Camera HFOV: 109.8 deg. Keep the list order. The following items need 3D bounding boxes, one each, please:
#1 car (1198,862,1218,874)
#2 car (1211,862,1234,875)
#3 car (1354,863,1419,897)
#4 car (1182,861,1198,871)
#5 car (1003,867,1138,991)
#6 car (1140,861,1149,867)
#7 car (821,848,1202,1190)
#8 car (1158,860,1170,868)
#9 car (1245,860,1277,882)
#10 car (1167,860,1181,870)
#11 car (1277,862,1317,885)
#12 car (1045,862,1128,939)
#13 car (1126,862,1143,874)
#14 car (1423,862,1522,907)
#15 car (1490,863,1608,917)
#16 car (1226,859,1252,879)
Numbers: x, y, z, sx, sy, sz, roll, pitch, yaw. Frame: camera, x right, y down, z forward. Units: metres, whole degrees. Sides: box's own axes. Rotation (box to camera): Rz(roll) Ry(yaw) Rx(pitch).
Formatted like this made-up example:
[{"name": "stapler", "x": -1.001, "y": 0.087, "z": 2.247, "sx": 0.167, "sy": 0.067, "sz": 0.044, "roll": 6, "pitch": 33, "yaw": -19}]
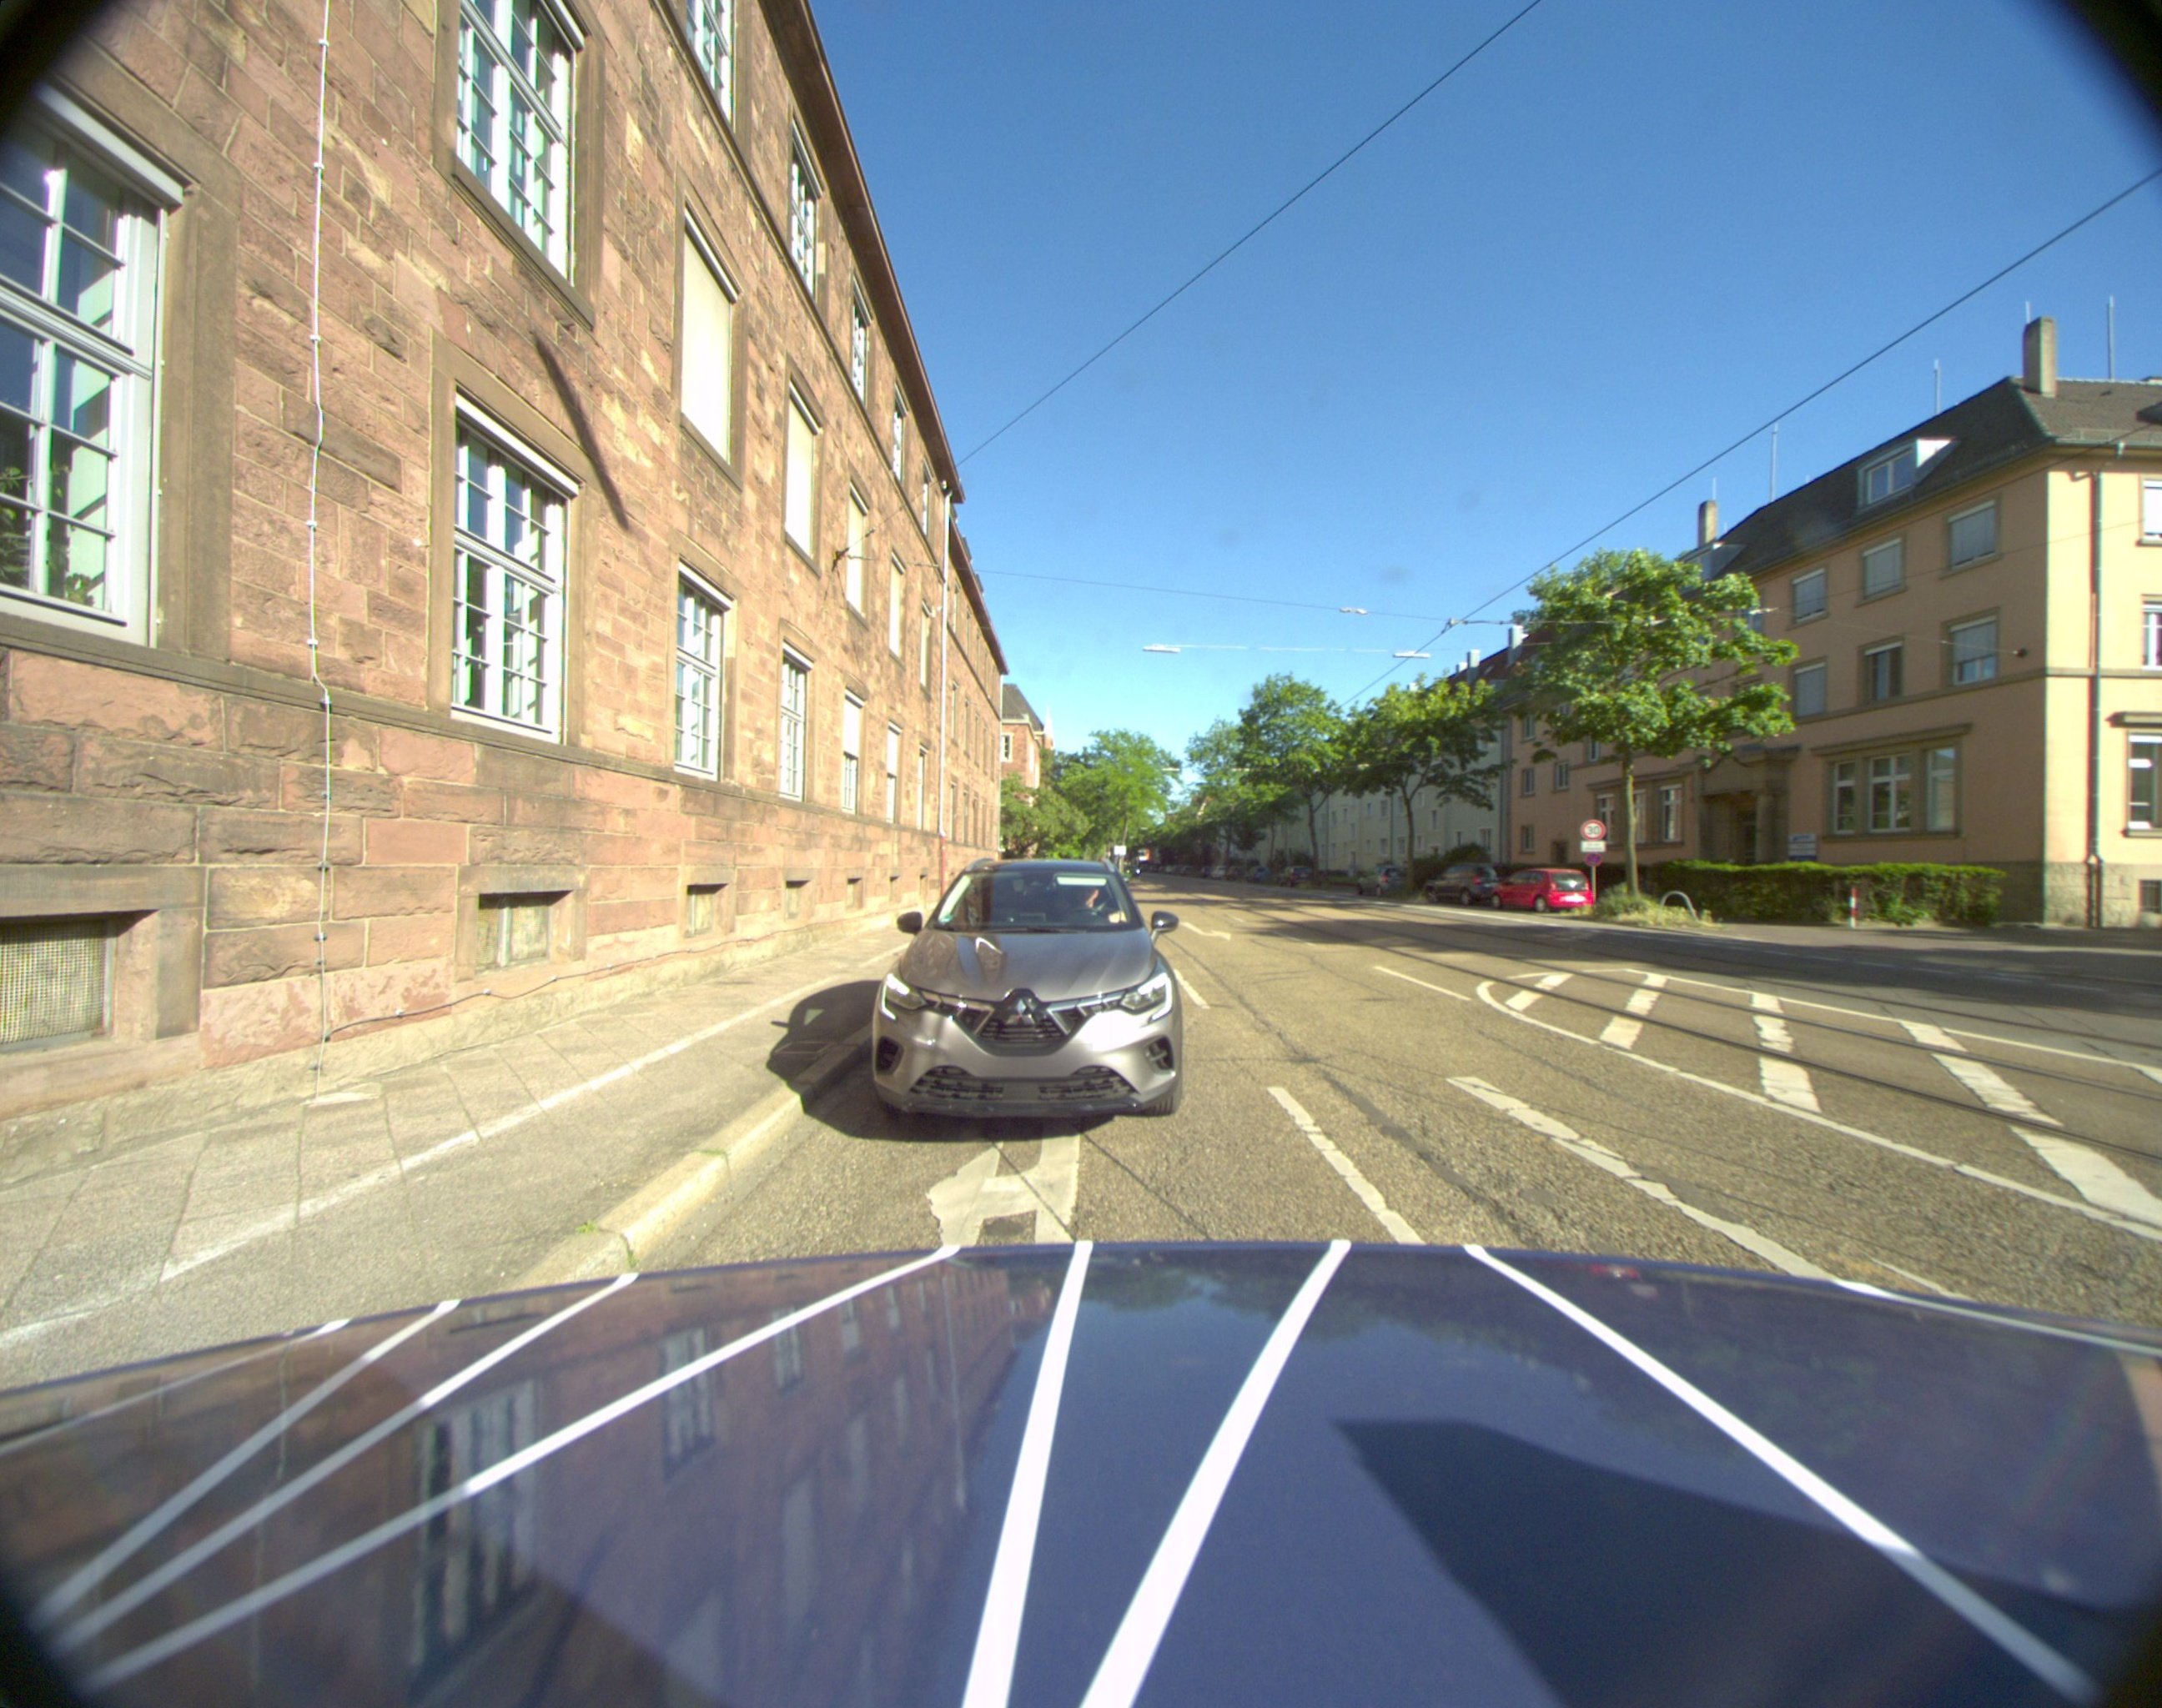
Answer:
[{"name": "car", "x": 15.828, "y": 1.759, "z": 94.852, "sx": 1.816, "sy": 1.411, "sz": 3.630, "roll": 1, "pitch": 0, "yaw": -2}, {"name": "car", "x": 16.013, "y": 1.671, "z": 85.925, "sx": 1.816, "sy": 1.411, "sz": 3.630, "roll": 1, "pitch": 0, "yaw": -2}, {"name": "car", "x": 15.719, "y": 1.304, "z": 39.352, "sx": 1.816, "sy": 1.648, "sz": 3.877, "roll": 1, "pitch": 0, "yaw": 1}, {"name": "car", "x": 16.019, "y": 1.746, "z": 111.768, "sx": 1.816, "sy": 1.411, "sz": 3.630, "roll": 1, "pitch": 0, "yaw": -2}, {"name": "car", "x": -0.191, "y": 1.034, "z": 12.037, "sx": 1.796, "sy": 1.595, "sz": 3.799, "roll": 0, "pitch": 0, "yaw": -2}, {"name": "car", "x": 16.041, "y": 2.485, "z": 191.297, "sx": 1.816, "sy": 1.411, "sz": 3.630, "roll": 1, "pitch": 0, "yaw": -2}, {"name": "car", "x": -0.374, "y": 0.792, "z": 5.508, "sx": 1.796, "sy": 1.595, "sz": 3.799, "roll": 0, "pitch": 0, "yaw": -2}, {"name": "car", "x": 15.955, "y": 1.854, "z": 146.871, "sx": 1.816, "sy": 1.514, "sz": 3.630, "roll": 1, "pitch": 0, "yaw": -2}, {"name": "car", "x": 15.956, "y": 1.475, "z": 67.489, "sx": 1.816, "sy": 1.814, "sz": 3.795, "roll": 1, "pitch": 0, "yaw": -2}, {"name": "car", "x": 16.567, "y": 1.944, "z": 135.233, "sx": 1.816, "sy": 1.768, "sz": 3.630, "roll": 1, "pitch": 0, "yaw": -2}, {"name": "car", "x": 15.776, "y": 1.431, "z": 55.596, "sx": 1.816, "sy": 1.589, "sz": 3.630, "roll": 1, "pitch": 0, "yaw": -2}, {"name": "car", "x": 0.062, "y": 1.017, "z": 18.484, "sx": 1.796, "sy": 1.638, "sz": 4.083, "roll": 0, "pitch": 0, "yaw": -2}, {"name": "car", "x": 7.222, "y": 1.827, "z": 102.503, "sx": 1.912, "sy": 1.510, "sz": 4.000, "roll": 1, "pitch": 0, "yaw": -1}, {"name": "car", "x": 15.632, "y": 1.173, "z": 30.542, "sx": 1.816, "sy": 1.648, "sz": 3.819, "roll": 1, "pitch": 0, "yaw": -3}, {"name": "car", "x": 15.843, "y": 1.169, "z": 25.934, "sx": 1.816, "sy": 1.696, "sz": 3.374, "roll": 1, "pitch": 0, "yaw": -3}, {"name": "car", "x": 15.885, "y": 1.533, "z": 76.566, "sx": 1.816, "sy": 1.929, "sz": 3.630, "roll": 1, "pitch": 0, "yaw": -2}]
